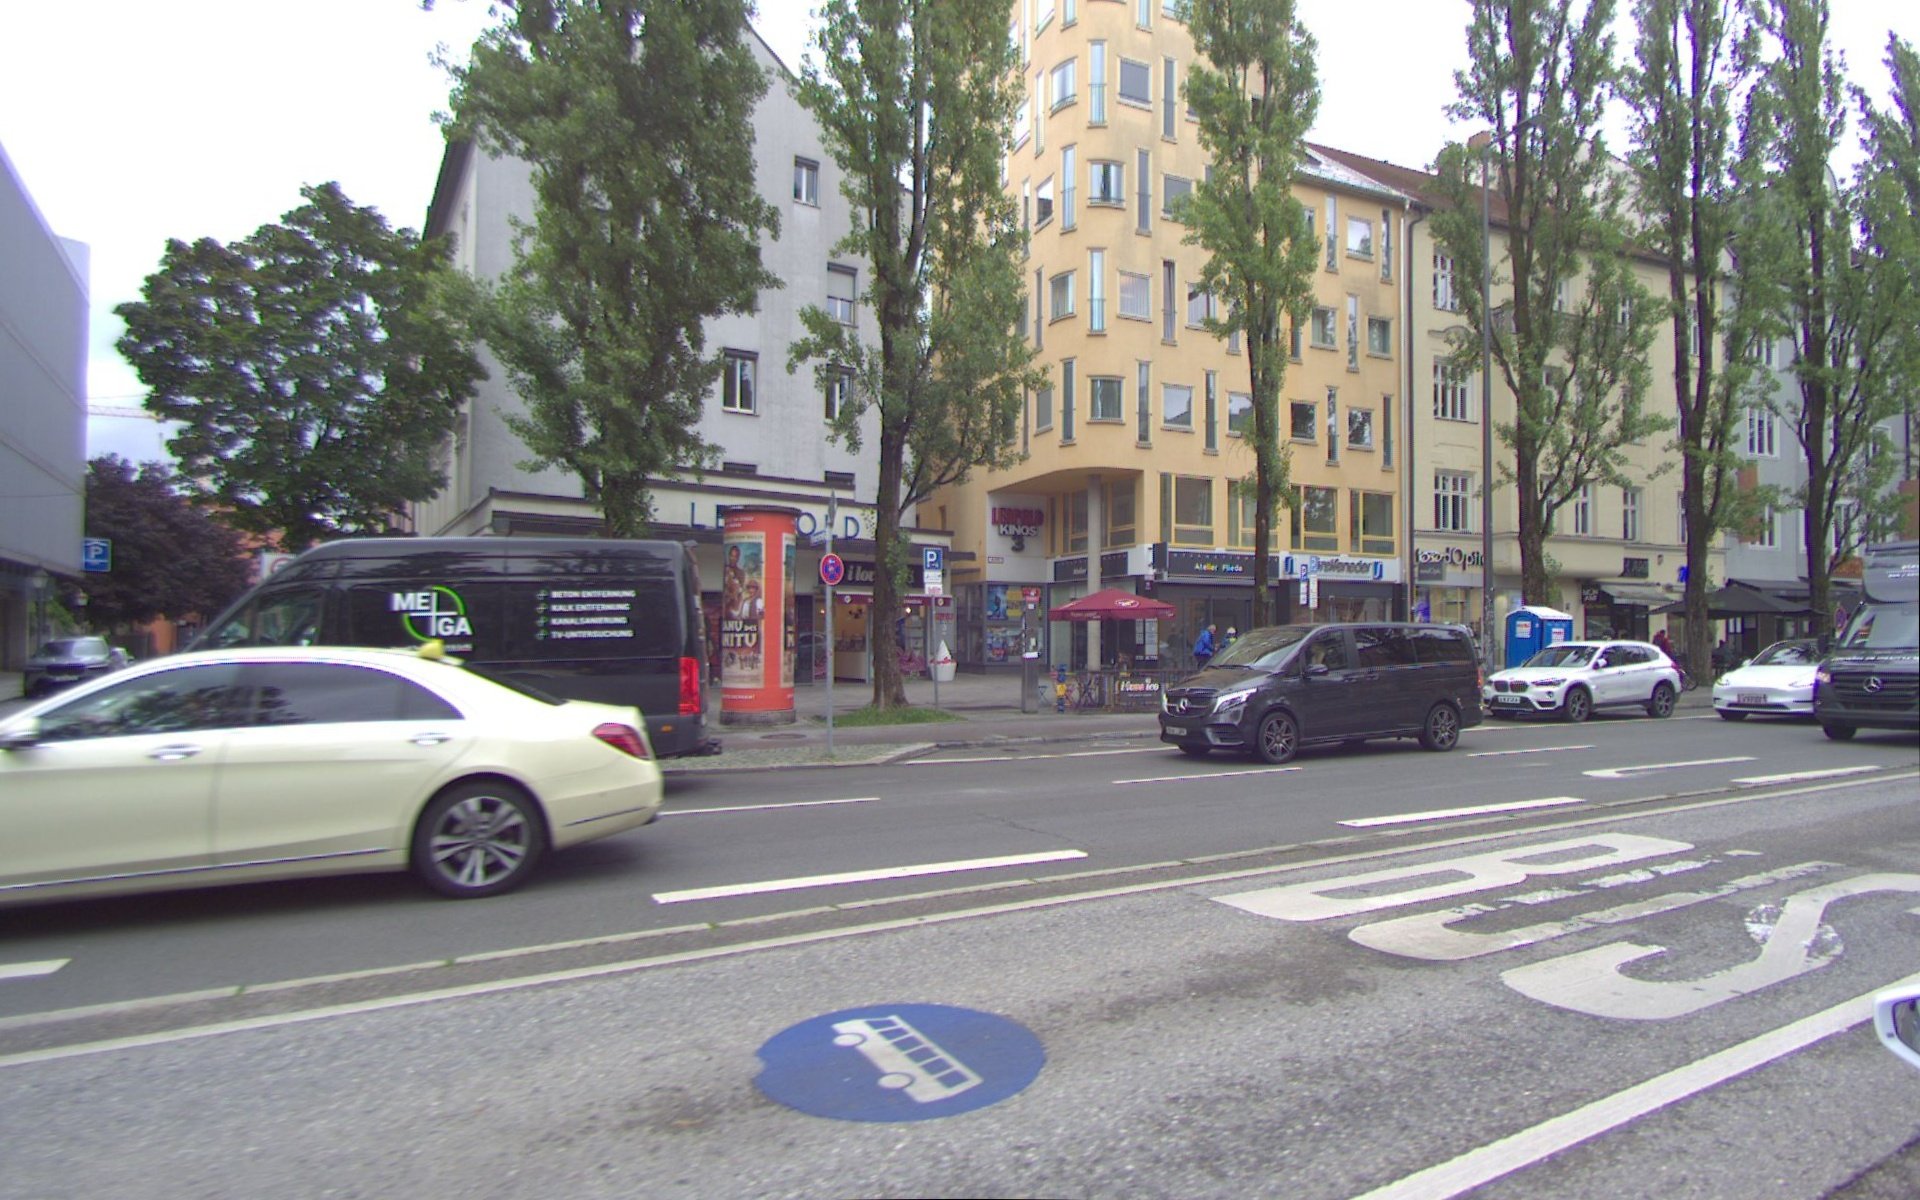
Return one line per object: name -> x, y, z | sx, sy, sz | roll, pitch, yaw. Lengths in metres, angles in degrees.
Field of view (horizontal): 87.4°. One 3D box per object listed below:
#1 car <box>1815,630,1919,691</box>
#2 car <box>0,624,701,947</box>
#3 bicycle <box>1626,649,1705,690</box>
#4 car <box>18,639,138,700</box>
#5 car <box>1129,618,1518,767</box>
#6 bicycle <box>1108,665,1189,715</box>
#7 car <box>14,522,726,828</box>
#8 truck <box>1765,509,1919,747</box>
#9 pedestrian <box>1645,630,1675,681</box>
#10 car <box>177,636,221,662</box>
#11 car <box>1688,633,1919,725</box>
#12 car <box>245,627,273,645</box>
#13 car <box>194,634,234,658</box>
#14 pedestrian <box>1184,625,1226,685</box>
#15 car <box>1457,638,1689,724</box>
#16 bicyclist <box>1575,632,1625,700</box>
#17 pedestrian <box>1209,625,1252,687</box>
car -> 25.072, 1.547, 26.679 | 4.235, 1.513, 1.935 | 1, -2, -23
car -> -4.428, 1.000, 6.352 | 5.127, 1.609, 1.987 | 1, -4, -27
bicycle -> 20.333, 1.981, 29.002 | 0.496, 1.115, 2.129 | 0, -3, -10
car -> -26.746, 2.050, 30.628 | 1.977, 1.684, 4.203 | 1, -2, -31
car -> 5.428, 1.274, 14.884 | 5.633, 1.887, 1.989 | 1, -4, -25
bicycle -> 4.005, 1.897, 21.291 | 1.859, 0.976, 0.456 | 1, -2, -31
car -> -5.560, 0.710, 10.555 | 5.964, 2.639, 2.170 | 1, -2, -16
truck -> 16.512, 0.478, 16.378 | 7.058, 3.366, 2.286 | 1, -3, -24
pedestrian -> 24.382, 1.923, 34.983 | 0.744, 1.770, 0.537 | 1, -1, -24
car -> -50.609, 3.215, 66.863 | 1.830, 1.684, 4.203 | 1, -2, -31
car -> 17.130, 1.520, 20.223 | 4.572, 1.672, 1.989 | 1, -3, -24
car -> -65.390, 3.380, 93.754 | 1.830, 1.684, 4.203 | 1, -2, -31
car -> -53.078, 3.256, 71.536 | 1.830, 1.684, 4.203 | 1, -2, -31
pedestrian -> 6.904, 1.536, 28.333 | 0.753, 1.647, 0.837 | 2, -1, -25
car -> 12.872, 1.637, 21.121 | 4.318, 1.650, 1.990 | 1, -3, -22
bicyclist -> 15.424, 1.572, 24.207 | 1.092, 1.601, 0.495 | 1, -2, -25
pedestrian -> 7.411, 1.535, 27.566 | 0.753, 1.647, 0.837 | 2, -1, -25
